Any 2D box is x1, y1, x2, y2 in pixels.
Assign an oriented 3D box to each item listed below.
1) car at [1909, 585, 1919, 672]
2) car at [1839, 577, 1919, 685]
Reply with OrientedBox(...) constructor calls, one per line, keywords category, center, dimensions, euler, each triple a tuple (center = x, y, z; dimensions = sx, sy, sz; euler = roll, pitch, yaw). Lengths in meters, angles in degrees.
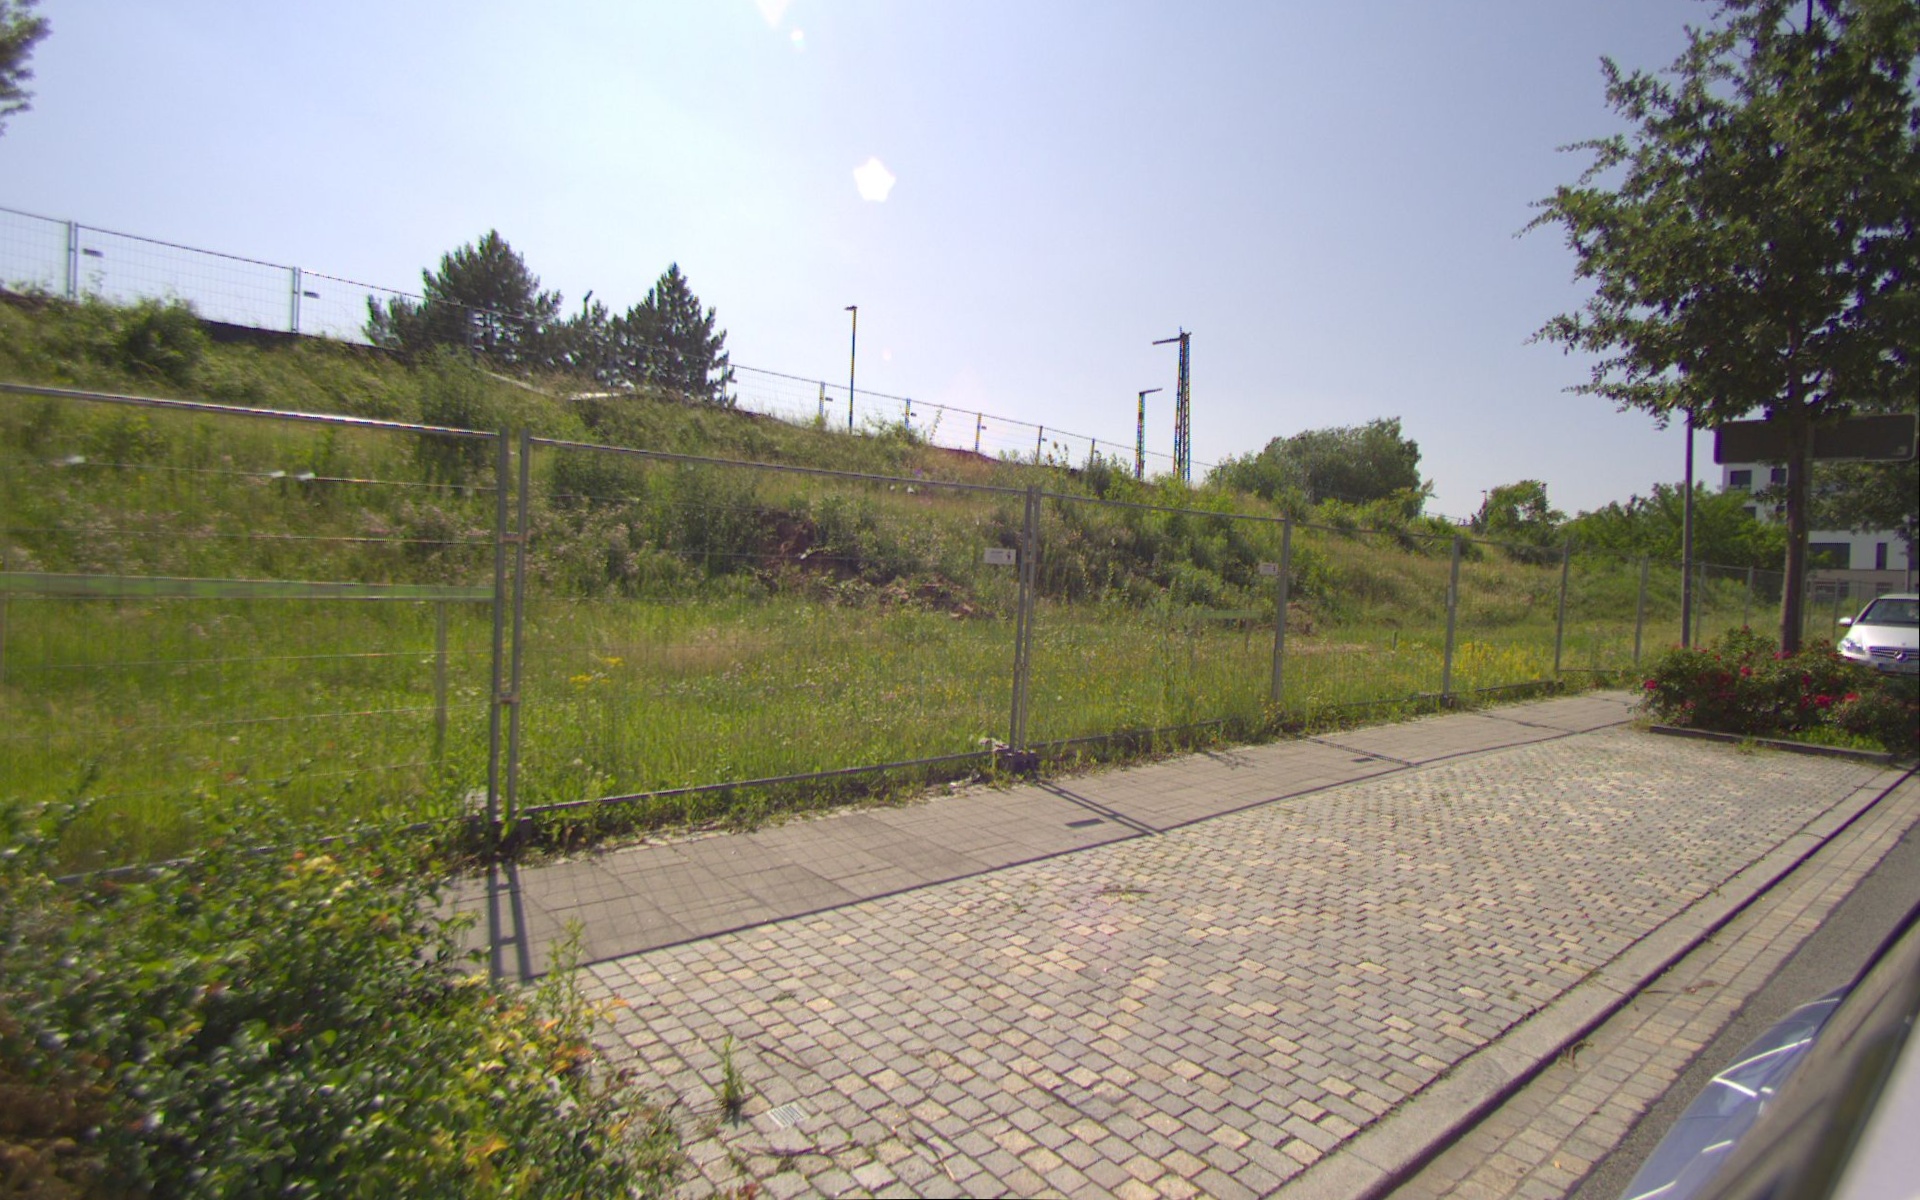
OrientedBox(category="car", center=(20.139, 0.617, 19.791), dimensions=(3.930, 1.635, 1.847), euler=(1, 3, -41))
OrientedBox(category="car", center=(16.666, 0.542, 17.277), dimensions=(4.293, 1.635, 1.847), euler=(1, 4, -41))
